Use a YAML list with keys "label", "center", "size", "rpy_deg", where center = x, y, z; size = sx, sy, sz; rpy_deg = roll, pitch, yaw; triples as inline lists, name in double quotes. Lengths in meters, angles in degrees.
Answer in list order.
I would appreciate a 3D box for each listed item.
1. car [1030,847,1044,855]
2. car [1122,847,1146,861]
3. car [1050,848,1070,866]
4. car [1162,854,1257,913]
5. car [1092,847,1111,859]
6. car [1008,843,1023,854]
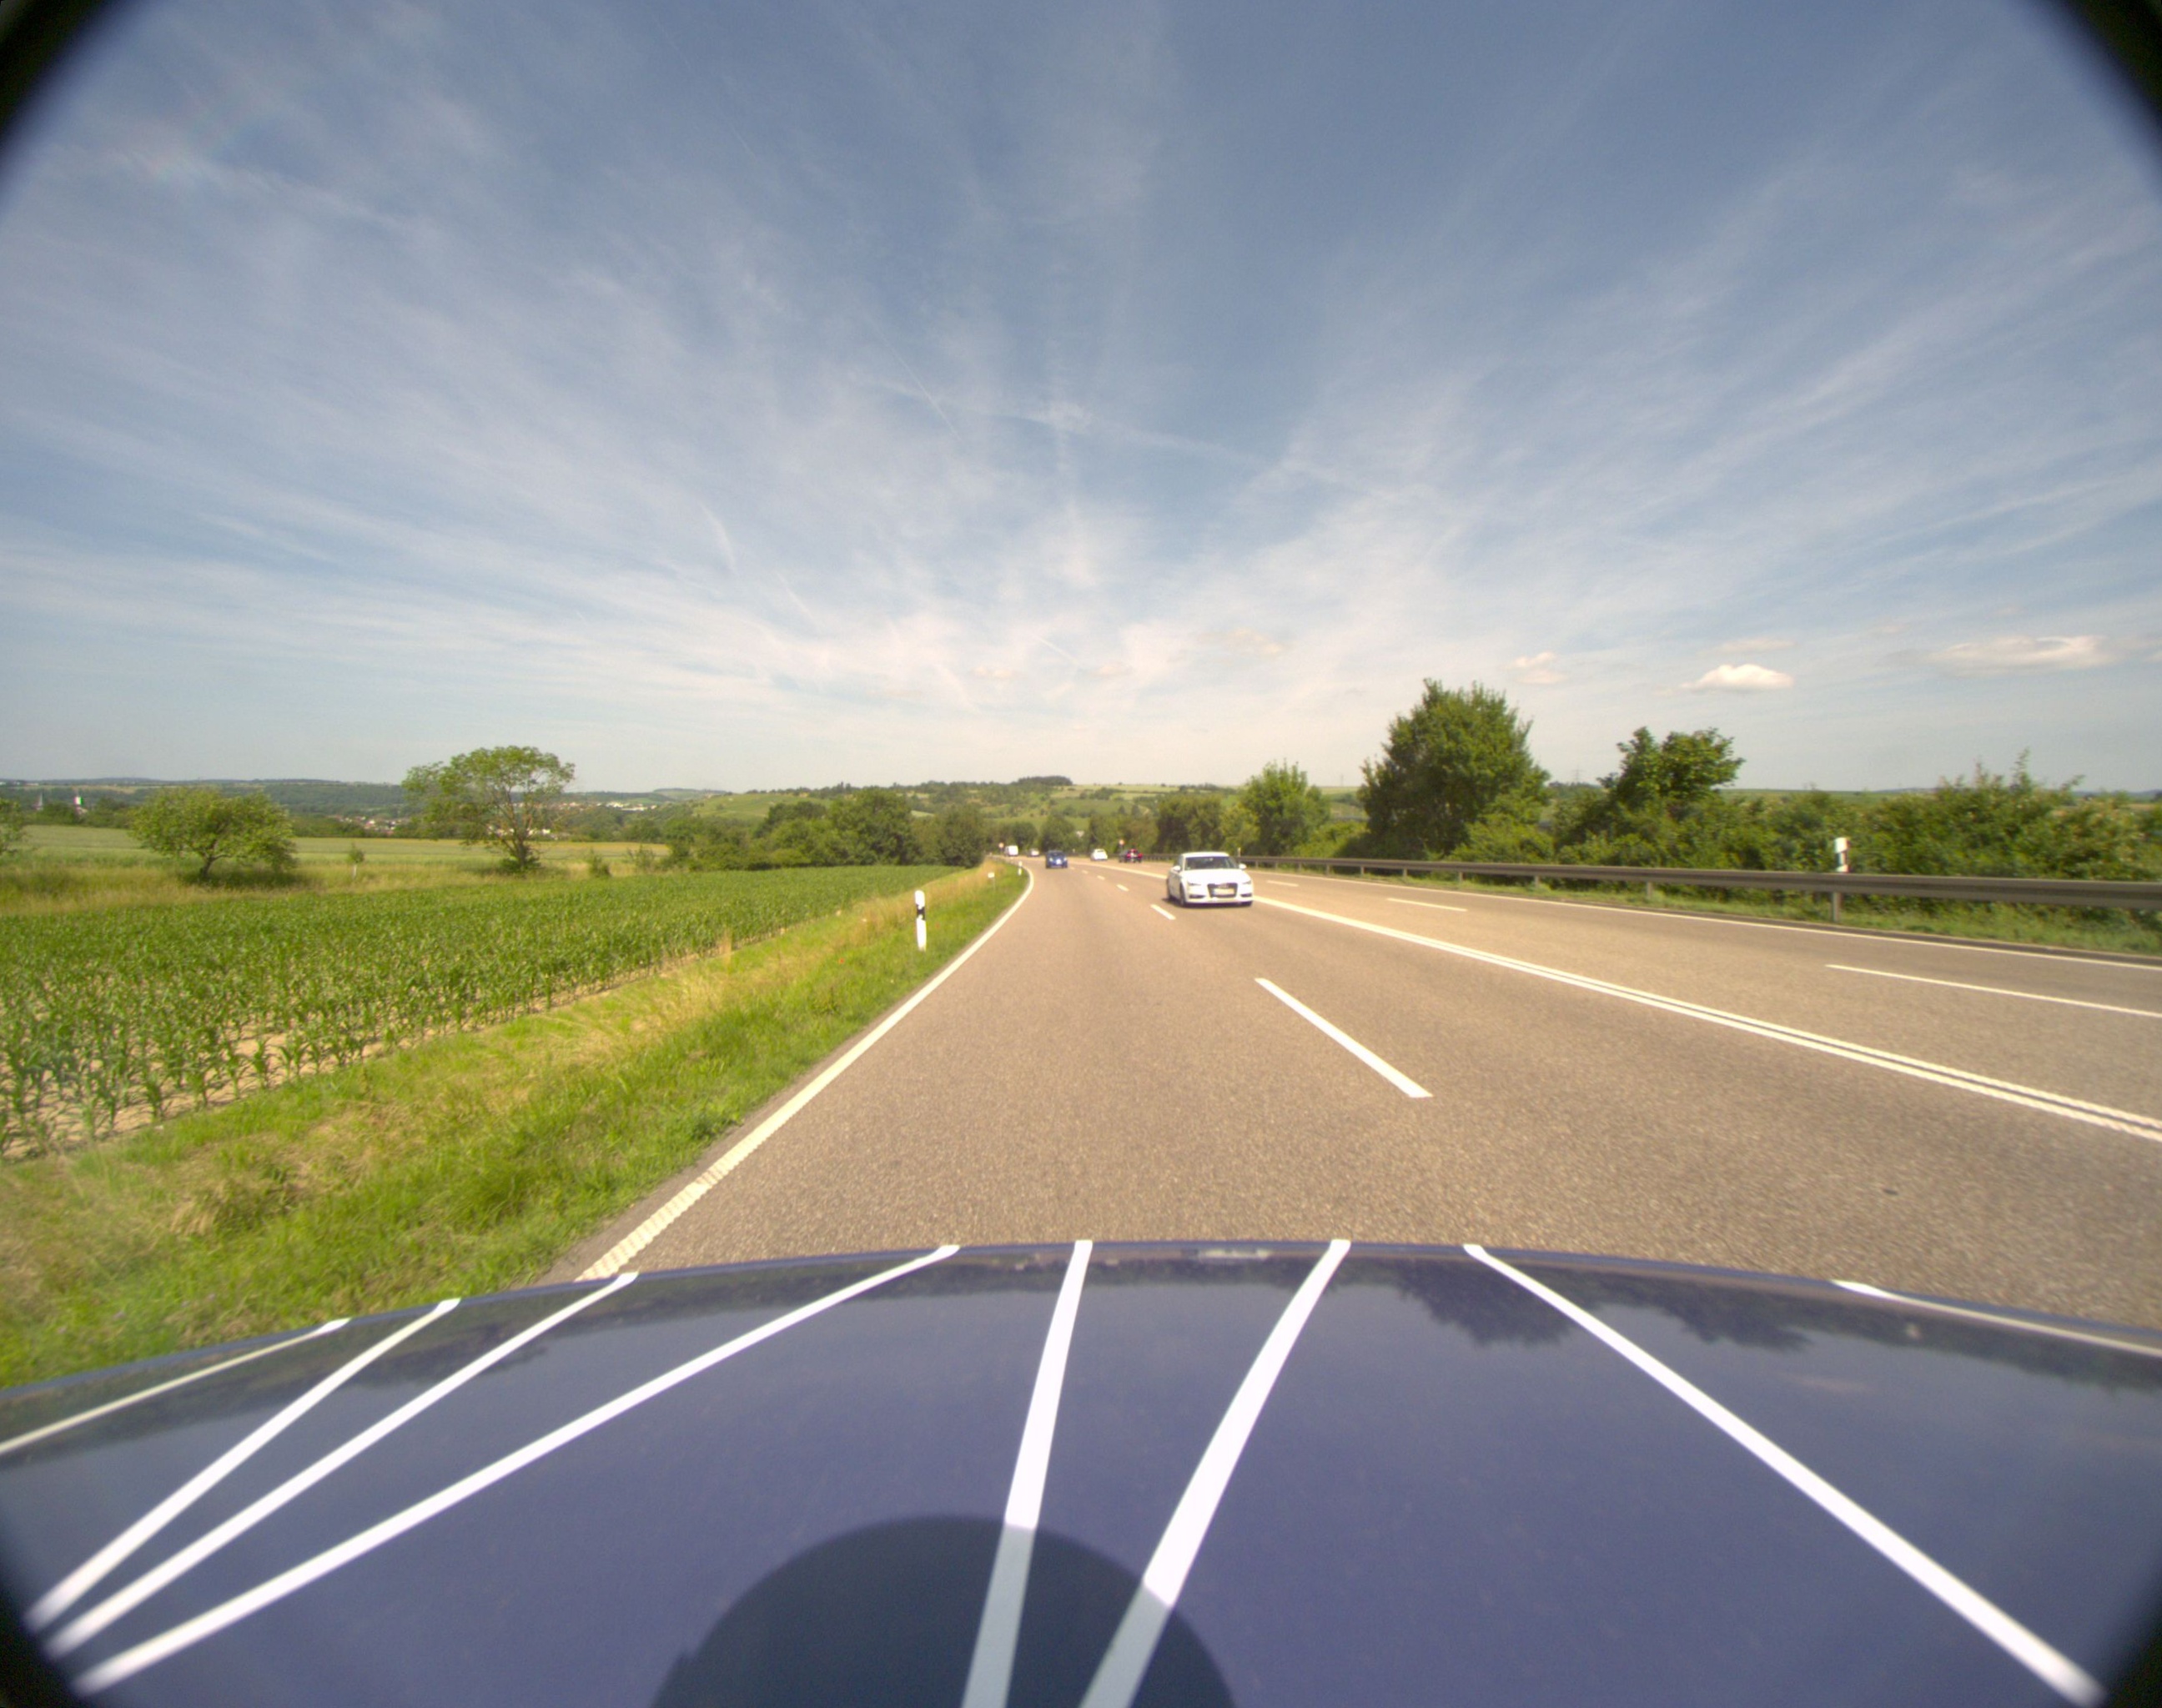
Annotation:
- label: "car"
  center: [-8.736, -0.587, 151.261]
  size: [1.820, 1.559, 4.677]
  rpy_deg: [-1, 1, -15]
- label: "car"
  center: [5.817, -0.062, 83.413]
  size: [1.842, 1.447, 4.322]
  rpy_deg: [-1, 1, -7]
- label: "car"
  center: [-1.955, 0.263, 68.586]
  size: [1.636, 1.522, 3.913]
  rpy_deg: [-3, 1, -3]
- label: "car"
  center: [3.389, 0.713, 20.848]
  size: [1.708, 1.368, 4.602]
  rpy_deg: [-2, 1, -1]
- label: "car"
  center: [2.729, -0.130, 101.566]
  size: [1.663, 1.449, 3.729]
  rpy_deg: [-1, 1, -12]
- label: "car"
  center: [-14.998, -1.180, 173.909]
  size: [2.097, 2.380, 5.835]
  rpy_deg: [-2, -1, -20]
